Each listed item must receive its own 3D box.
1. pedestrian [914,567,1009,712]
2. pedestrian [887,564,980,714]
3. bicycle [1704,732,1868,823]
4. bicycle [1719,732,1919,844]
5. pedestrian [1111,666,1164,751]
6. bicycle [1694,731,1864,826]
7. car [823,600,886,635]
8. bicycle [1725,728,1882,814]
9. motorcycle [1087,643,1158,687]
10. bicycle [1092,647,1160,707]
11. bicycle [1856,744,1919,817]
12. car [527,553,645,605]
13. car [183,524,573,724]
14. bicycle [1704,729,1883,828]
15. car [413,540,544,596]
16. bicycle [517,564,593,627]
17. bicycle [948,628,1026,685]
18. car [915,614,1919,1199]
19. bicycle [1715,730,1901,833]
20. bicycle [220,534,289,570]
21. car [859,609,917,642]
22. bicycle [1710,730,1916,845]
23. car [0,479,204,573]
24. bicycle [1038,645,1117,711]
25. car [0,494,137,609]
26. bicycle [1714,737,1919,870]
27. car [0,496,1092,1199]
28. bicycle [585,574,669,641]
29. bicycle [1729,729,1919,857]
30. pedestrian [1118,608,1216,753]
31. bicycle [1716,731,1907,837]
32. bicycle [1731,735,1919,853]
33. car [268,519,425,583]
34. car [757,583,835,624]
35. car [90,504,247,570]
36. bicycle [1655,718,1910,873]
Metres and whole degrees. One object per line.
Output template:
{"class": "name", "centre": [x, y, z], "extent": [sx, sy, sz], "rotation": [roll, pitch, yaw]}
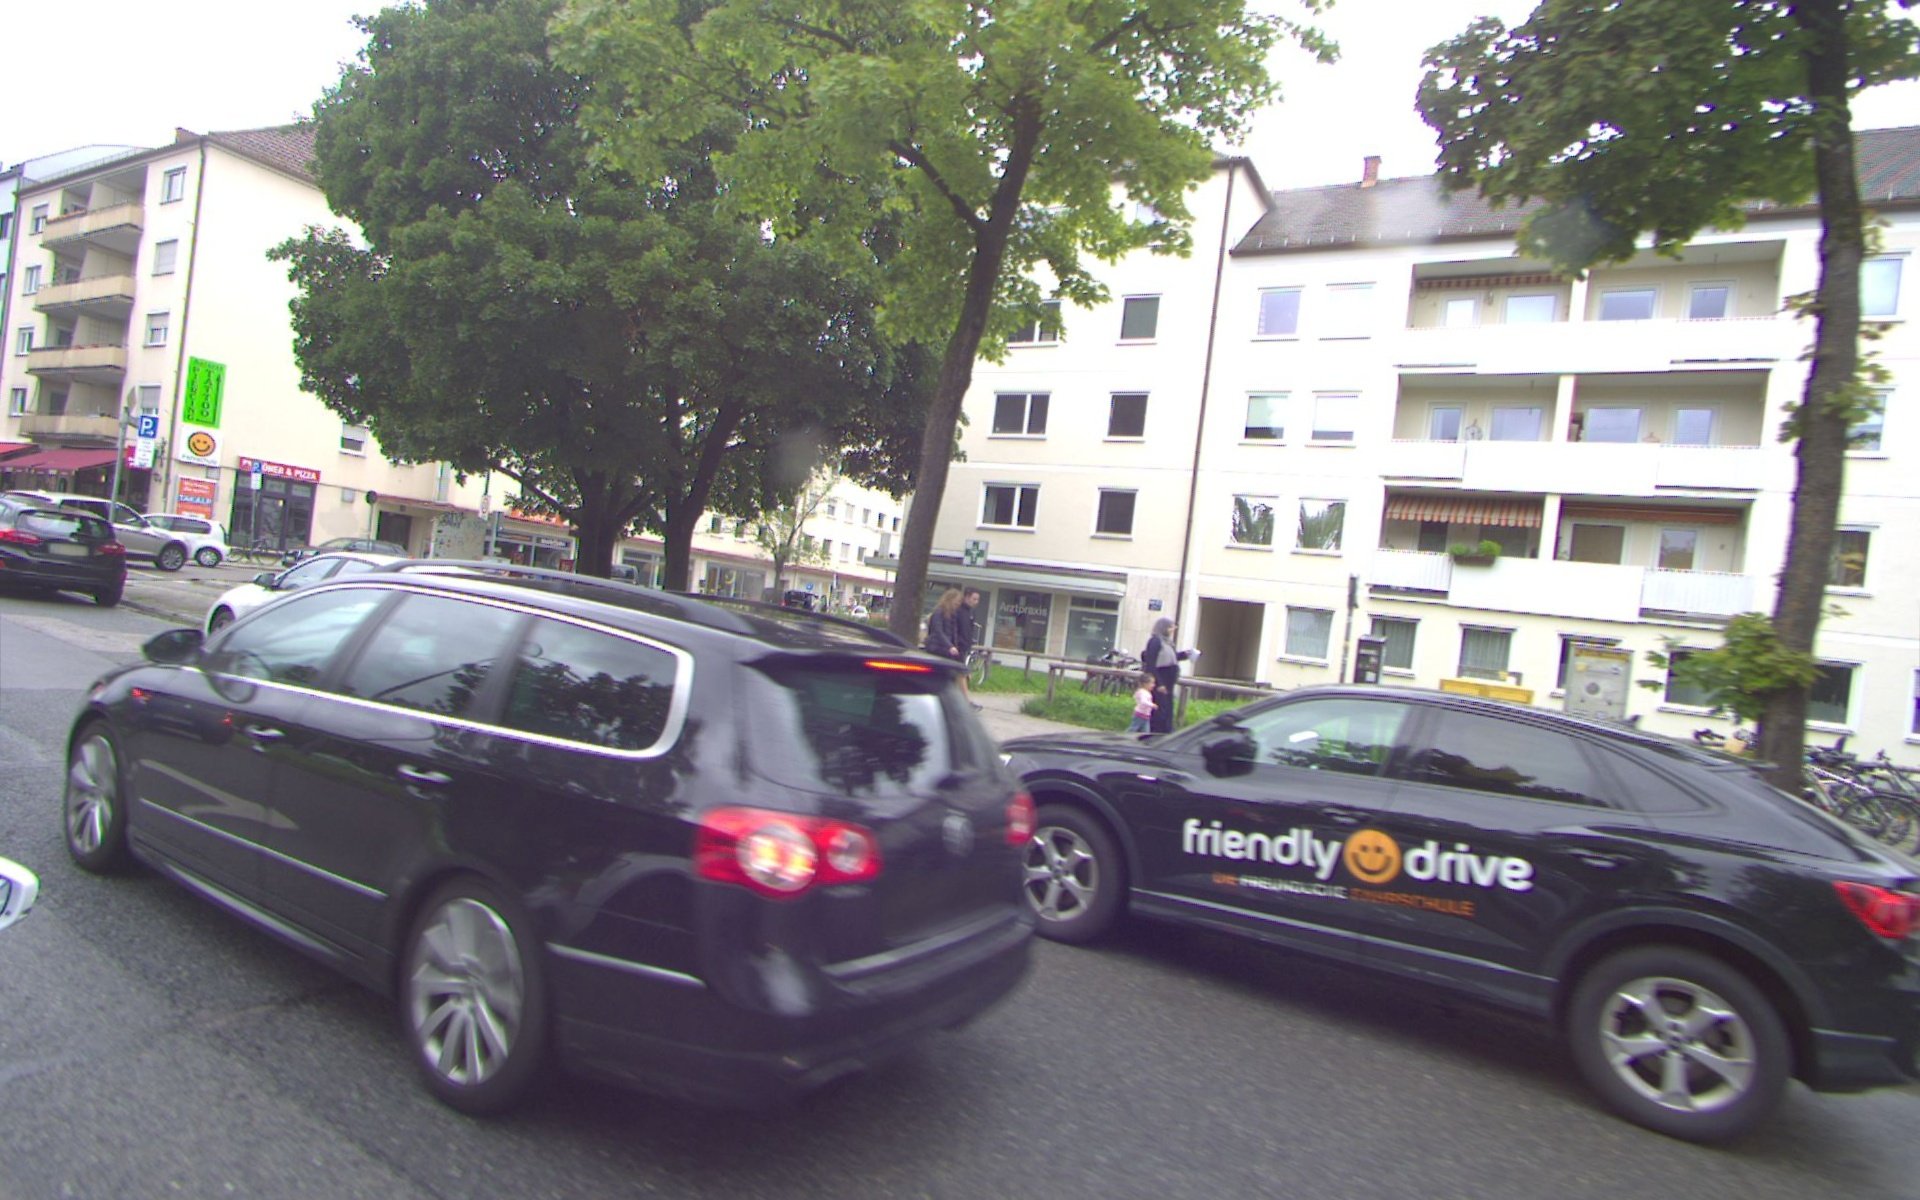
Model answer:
{"class": "pedestrian", "centre": [0.022, 0.551, 14.224], "extent": [0.904, 1.913, 0.730], "rotation": [7, 1, 31]}
{"class": "pedestrian", "centre": [-0.355, 0.524, 13.662], "extent": [0.887, 1.913, 0.588], "rotation": [7, 1, 31]}
{"class": "bicycle", "centre": [13.006, 2.776, 15.909], "extent": [1.853, 1.041, 0.431], "rotation": [7, 1, 33]}
{"class": "bicycle", "centre": [11.127, 2.409, 13.096], "extent": [1.853, 1.041, 0.431], "rotation": [7, 1, 33]}
{"class": "pedestrian", "centre": [2.184, 1.325, 12.357], "extent": [0.428, 0.961, 0.408], "rotation": [7, 1, 31]}
{"class": "bicycle", "centre": [12.346, 2.677, 15.235], "extent": [1.853, 1.041, 0.431], "rotation": [7, 1, 33]}
{"class": "car", "centre": [-6.668, 1.126, 63.981], "extent": [1.839, 1.679, 4.088], "rotation": [7, -2, 28]}
{"class": "bicycle", "centre": [13.937, 2.806, 16.683], "extent": [1.853, 1.041, 0.431], "rotation": [7, 1, 33]}
{"class": "motorcycle", "centre": [4.790, 1.903, 29.649], "extent": [1.875, 1.035, 0.605], "rotation": [7, -1, 33]}
{"class": "bicycle", "centre": [3.110, 1.455, 18.699], "extent": [0.426, 0.985, 1.880], "rotation": [7, -2, 33]}
{"class": "bicycle", "centre": [15.847, 3.022, 16.281], "extent": [1.853, 1.041, 0.431], "rotation": [7, 1, 33]}
{"class": "car", "centre": [-16.750, -0.903, 45.322], "extent": [1.840, 1.795, 4.742], "rotation": [7, 0, 30]}
{"class": "car", "centre": [-6.220, 0.218, 10.647], "extent": [4.068, 1.481, 1.687], "rotation": [7, -3, 31]}
{"class": "bicycle", "centre": [12.030, 2.558, 14.589], "extent": [1.853, 1.041, 0.431], "rotation": [7, 1, 33]}
{"class": "car", "centre": [-19.236, -1.254, 40.410], "extent": [1.839, 1.681, 4.401], "rotation": [7, 0, 29]}
{"class": "bicycle", "centre": [-8.539, -0.107, 21.167], "extent": [1.823, 1.118, 0.389], "rotation": [7, -1, 33]}
{"class": "bicycle", "centre": [0.556, 1.130, 19.893], "extent": [0.549, 0.950, 1.880], "rotation": [7, -2, 33]}
{"class": "car", "centre": [2.060, 1.161, 5.195], "extent": [4.205, 1.550, 1.720], "rotation": [7, -2, 32]}
{"class": "bicycle", "centre": [11.845, 2.511, 14.123], "extent": [1.853, 1.041, 0.431], "rotation": [7, 1, 33]}
{"class": "bicycle", "centre": [-24.790, -1.686, 35.383], "extent": [0.548, 0.968, 1.851], "rotation": [7, -2, 31]}
{"class": "car", "centre": [-4.798, 1.757, 67.717], "extent": [1.839, 1.679, 4.088], "rotation": [7, -2, 28]}
{"class": "bicycle", "centre": [10.753, 2.341, 12.766], "extent": [1.853, 1.041, 0.431], "rotation": [7, 1, 33]}
{"class": "car", "centre": [-21.650, -1.790, 25.133], "extent": [1.837, 1.679, 4.411], "rotation": [8, -2, 3]}
{"class": "bicycle", "centre": [1.998, 1.328, 16.898], "extent": [0.426, 0.985, 1.880], "rotation": [7, -2, 33]}
{"class": "car", "centre": [-14.891, -0.861, 15.963], "extent": [3.613, 1.482, 1.621], "rotation": [7, -2, 32]}
{"class": "bicycle", "centre": [9.307, 2.155, 10.759], "extent": [1.853, 1.041, 0.431], "rotation": [7, 1, 33]}
{"class": "car", "centre": [-1.896, 0.580, 4.077], "extent": [4.367, 1.449, 1.735], "rotation": [7, -2, 31]}
{"class": "bicycle", "centre": [-6.625, 0.136, 19.973], "extent": [1.853, 1.116, 0.382], "rotation": [7, -1, 33]}
{"class": "bicycle", "centre": [10.165, 2.220, 11.659], "extent": [1.853, 1.115, 0.431], "rotation": [7, 1, 33]}
{"class": "pedestrian", "centre": [2.643, 1.013, 12.826], "extent": [0.821, 1.702, 0.839], "rotation": [7, 1, 31]}
{"class": "bicycle", "centre": [11.555, 2.479, 13.731], "extent": [1.853, 1.041, 0.431], "rotation": [7, 1, 33]}
{"class": "bicycle", "centre": [10.604, 2.332, 12.207], "extent": [1.853, 1.041, 0.431], "rotation": [7, 1, 33]}
{"class": "car", "centre": [-21.914, -1.704, 36.114], "extent": [1.839, 1.681, 4.402], "rotation": [7, 0, 27]}
{"class": "car", "centre": [-9.488, 0.245, 58.620], "extent": [1.839, 1.679, 4.750], "rotation": [7, -2, 28]}
{"class": "car", "centre": [-23.765, -1.878, 30.384], "extent": [3.530, 1.434, 1.853], "rotation": [8, 0, -37]}
{"class": "bicycle", "centre": [8.293, 1.944, 10.252], "extent": [1.853, 1.148, 0.431], "rotation": [8, 2, 33]}
